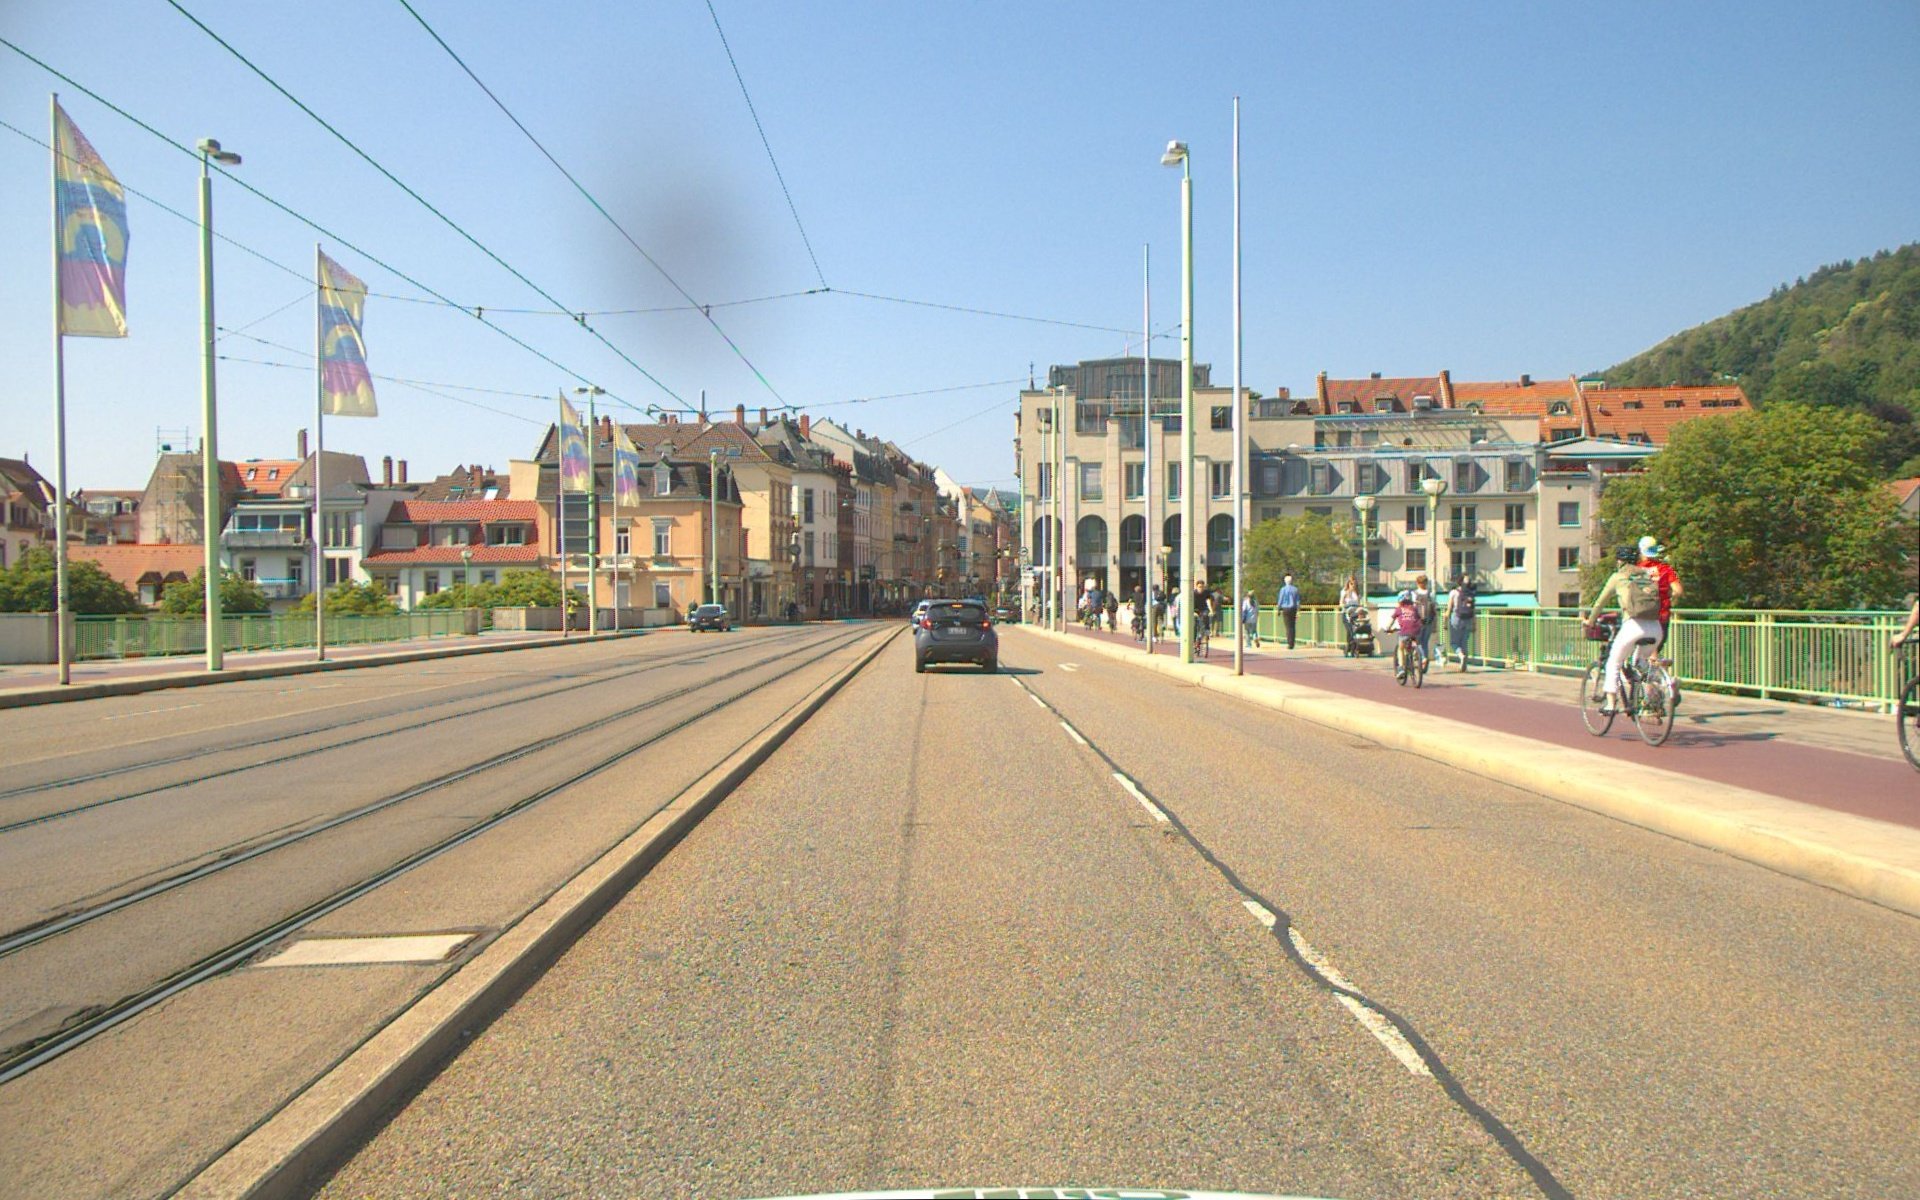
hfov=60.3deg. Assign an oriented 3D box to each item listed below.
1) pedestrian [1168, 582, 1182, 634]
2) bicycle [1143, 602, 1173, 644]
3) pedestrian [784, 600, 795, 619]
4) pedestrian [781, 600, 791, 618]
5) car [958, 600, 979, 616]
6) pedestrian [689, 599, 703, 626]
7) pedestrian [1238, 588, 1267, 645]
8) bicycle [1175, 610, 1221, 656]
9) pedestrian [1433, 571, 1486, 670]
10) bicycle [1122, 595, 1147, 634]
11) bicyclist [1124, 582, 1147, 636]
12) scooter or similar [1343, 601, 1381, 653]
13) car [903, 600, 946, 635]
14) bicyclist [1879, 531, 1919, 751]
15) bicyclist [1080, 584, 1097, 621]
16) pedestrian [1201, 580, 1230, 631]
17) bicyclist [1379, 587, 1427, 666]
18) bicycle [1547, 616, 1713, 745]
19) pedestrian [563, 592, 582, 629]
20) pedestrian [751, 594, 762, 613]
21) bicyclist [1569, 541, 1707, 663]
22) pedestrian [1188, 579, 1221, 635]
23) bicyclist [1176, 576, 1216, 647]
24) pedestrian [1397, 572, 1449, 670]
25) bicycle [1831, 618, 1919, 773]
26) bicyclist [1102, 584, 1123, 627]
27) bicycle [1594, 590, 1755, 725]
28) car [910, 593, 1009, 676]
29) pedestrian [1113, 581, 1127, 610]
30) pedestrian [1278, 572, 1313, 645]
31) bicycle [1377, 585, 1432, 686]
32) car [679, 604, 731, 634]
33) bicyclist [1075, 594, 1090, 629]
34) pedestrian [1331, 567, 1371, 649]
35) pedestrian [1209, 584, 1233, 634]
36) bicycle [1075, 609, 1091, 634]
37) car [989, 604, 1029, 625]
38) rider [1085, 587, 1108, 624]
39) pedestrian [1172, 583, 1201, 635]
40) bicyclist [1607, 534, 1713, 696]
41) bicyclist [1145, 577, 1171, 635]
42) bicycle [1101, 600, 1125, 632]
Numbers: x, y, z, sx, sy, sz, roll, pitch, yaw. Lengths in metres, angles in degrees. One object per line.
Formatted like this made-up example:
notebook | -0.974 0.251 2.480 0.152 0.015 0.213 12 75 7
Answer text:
pedestrian | 7.590 0.290 58.391 0.360 1.826 0.604 1 0 -1
bicycle | 5.911 0.672 49.367 0.581 1.199 1.939 0 1 -2
pedestrian | -13.131 0.708 127.494 0.747 1.422 0.663 0 0 1
pedestrian | -13.750 0.714 130.702 0.747 1.422 0.663 0 0 1
car | 0.892 0.777 164.351 1.838 1.433 4.002 0 1 4
pedestrian | -16.304 0.763 102.226 0.747 1.694 0.663 0 0 1
pedestrian | 7.666 0.422 43.402 0.601 1.491 0.848 0 0 -1
bicycle | 5.476 0.741 38.174 0.640 0.998 2.177 -2 0 -2
pedestrian | 8.363 0.334 27.721 0.587 1.613 0.866 0 0 -3
bicycle | 5.656 0.456 53.687 0.515 1.199 2.028 0 1 -2
bicyclist | 5.697 0.292 53.663 0.615 1.719 0.868 0 0 -3
scooter or similar | 8.635 0.573 35.536 0.576 1.088 0.865 0 0 -3
car | -1.642 0.793 76.090 1.768 1.494 3.997 -2 0 -4
bicyclist | 7.013 0.282 11.462 0.720 1.526 0.980 0 0 -3
bicyclist | 6.029 0.128 77.538 0.779 1.705 0.869 0 0 2
pedestrian | 8.795 0.182 56.940 0.817 1.719 0.869 0 0 -1
bicyclist | 6.437 0.372 24.058 0.586 1.121 0.853 0 0 9
bicycle | 6.091 0.694 15.152 0.606 1.055 2.050 0 1 -3
pedestrian | -19.346 0.516 82.570 0.747 1.818 0.663 0 0 1
pedestrian | -15.742 0.291 127.992 0.747 1.422 0.663 0 0 1
bicyclist | 6.088 0.013 14.913 0.720 1.048 1.175 0 0 -3
pedestrian | 7.880 0.220 53.381 0.911 1.792 0.937 0 0 -1
bicyclist | 5.458 0.263 38.245 0.640 1.594 1.337 -2 0 -2
pedestrian | 7.756 0.345 27.752 0.587 1.613 0.866 0 0 -3
bicycle | 7.018 0.683 11.531 0.606 1.055 2.265 0 1 -3
bicyclist | 6.053 0.211 65.616 0.701 1.705 0.868 0 0 -3
bicycle | 7.419 0.559 17.298 0.606 1.293 2.215 -2 0 -3
car | -0.077 0.685 35.512 1.872 1.567 3.998 -1 1 -3
pedestrian | 8.235 -0.217 85.101 0.643 1.476 0.644 0 0 -5
pedestrian | 8.614 0.212 42.443 0.698 1.842 0.848 0 0 -1
bicycle | 6.414 0.484 23.941 0.523 1.391 2.218 0 1 9
car | -13.682 0.989 89.066 1.952 1.505 4.002 0 1 3
bicyclist | 5.466 0.502 73.893 0.638 1.556 0.975 0 0 2
pedestrian | 8.603 0.166 36.412 0.629 1.787 0.866 0 0 -3
pedestrian | 8.844 0.304 56.045 0.698 1.680 0.848 0 0 0
bicycle | 5.474 0.937 73.783 0.652 1.068 2.029 0 1 2
car | 3.916 1.151 132.164 1.768 1.494 3.998 -2 0 25
rider | 5.761 0.219 69.665 0.871 1.531 0.840 0 0 -3
pedestrian | 7.524 0.284 54.955 0.817 1.719 0.869 0 0 -1
bicyclist | 7.390 0.153 17.486 0.720 1.664 0.866 0 0 -3
bicyclist | 5.909 0.174 49.406 0.643 1.705 0.868 0 0 -3
bicycle | 6.060 0.621 65.592 0.653 1.199 2.028 0 1 -2
